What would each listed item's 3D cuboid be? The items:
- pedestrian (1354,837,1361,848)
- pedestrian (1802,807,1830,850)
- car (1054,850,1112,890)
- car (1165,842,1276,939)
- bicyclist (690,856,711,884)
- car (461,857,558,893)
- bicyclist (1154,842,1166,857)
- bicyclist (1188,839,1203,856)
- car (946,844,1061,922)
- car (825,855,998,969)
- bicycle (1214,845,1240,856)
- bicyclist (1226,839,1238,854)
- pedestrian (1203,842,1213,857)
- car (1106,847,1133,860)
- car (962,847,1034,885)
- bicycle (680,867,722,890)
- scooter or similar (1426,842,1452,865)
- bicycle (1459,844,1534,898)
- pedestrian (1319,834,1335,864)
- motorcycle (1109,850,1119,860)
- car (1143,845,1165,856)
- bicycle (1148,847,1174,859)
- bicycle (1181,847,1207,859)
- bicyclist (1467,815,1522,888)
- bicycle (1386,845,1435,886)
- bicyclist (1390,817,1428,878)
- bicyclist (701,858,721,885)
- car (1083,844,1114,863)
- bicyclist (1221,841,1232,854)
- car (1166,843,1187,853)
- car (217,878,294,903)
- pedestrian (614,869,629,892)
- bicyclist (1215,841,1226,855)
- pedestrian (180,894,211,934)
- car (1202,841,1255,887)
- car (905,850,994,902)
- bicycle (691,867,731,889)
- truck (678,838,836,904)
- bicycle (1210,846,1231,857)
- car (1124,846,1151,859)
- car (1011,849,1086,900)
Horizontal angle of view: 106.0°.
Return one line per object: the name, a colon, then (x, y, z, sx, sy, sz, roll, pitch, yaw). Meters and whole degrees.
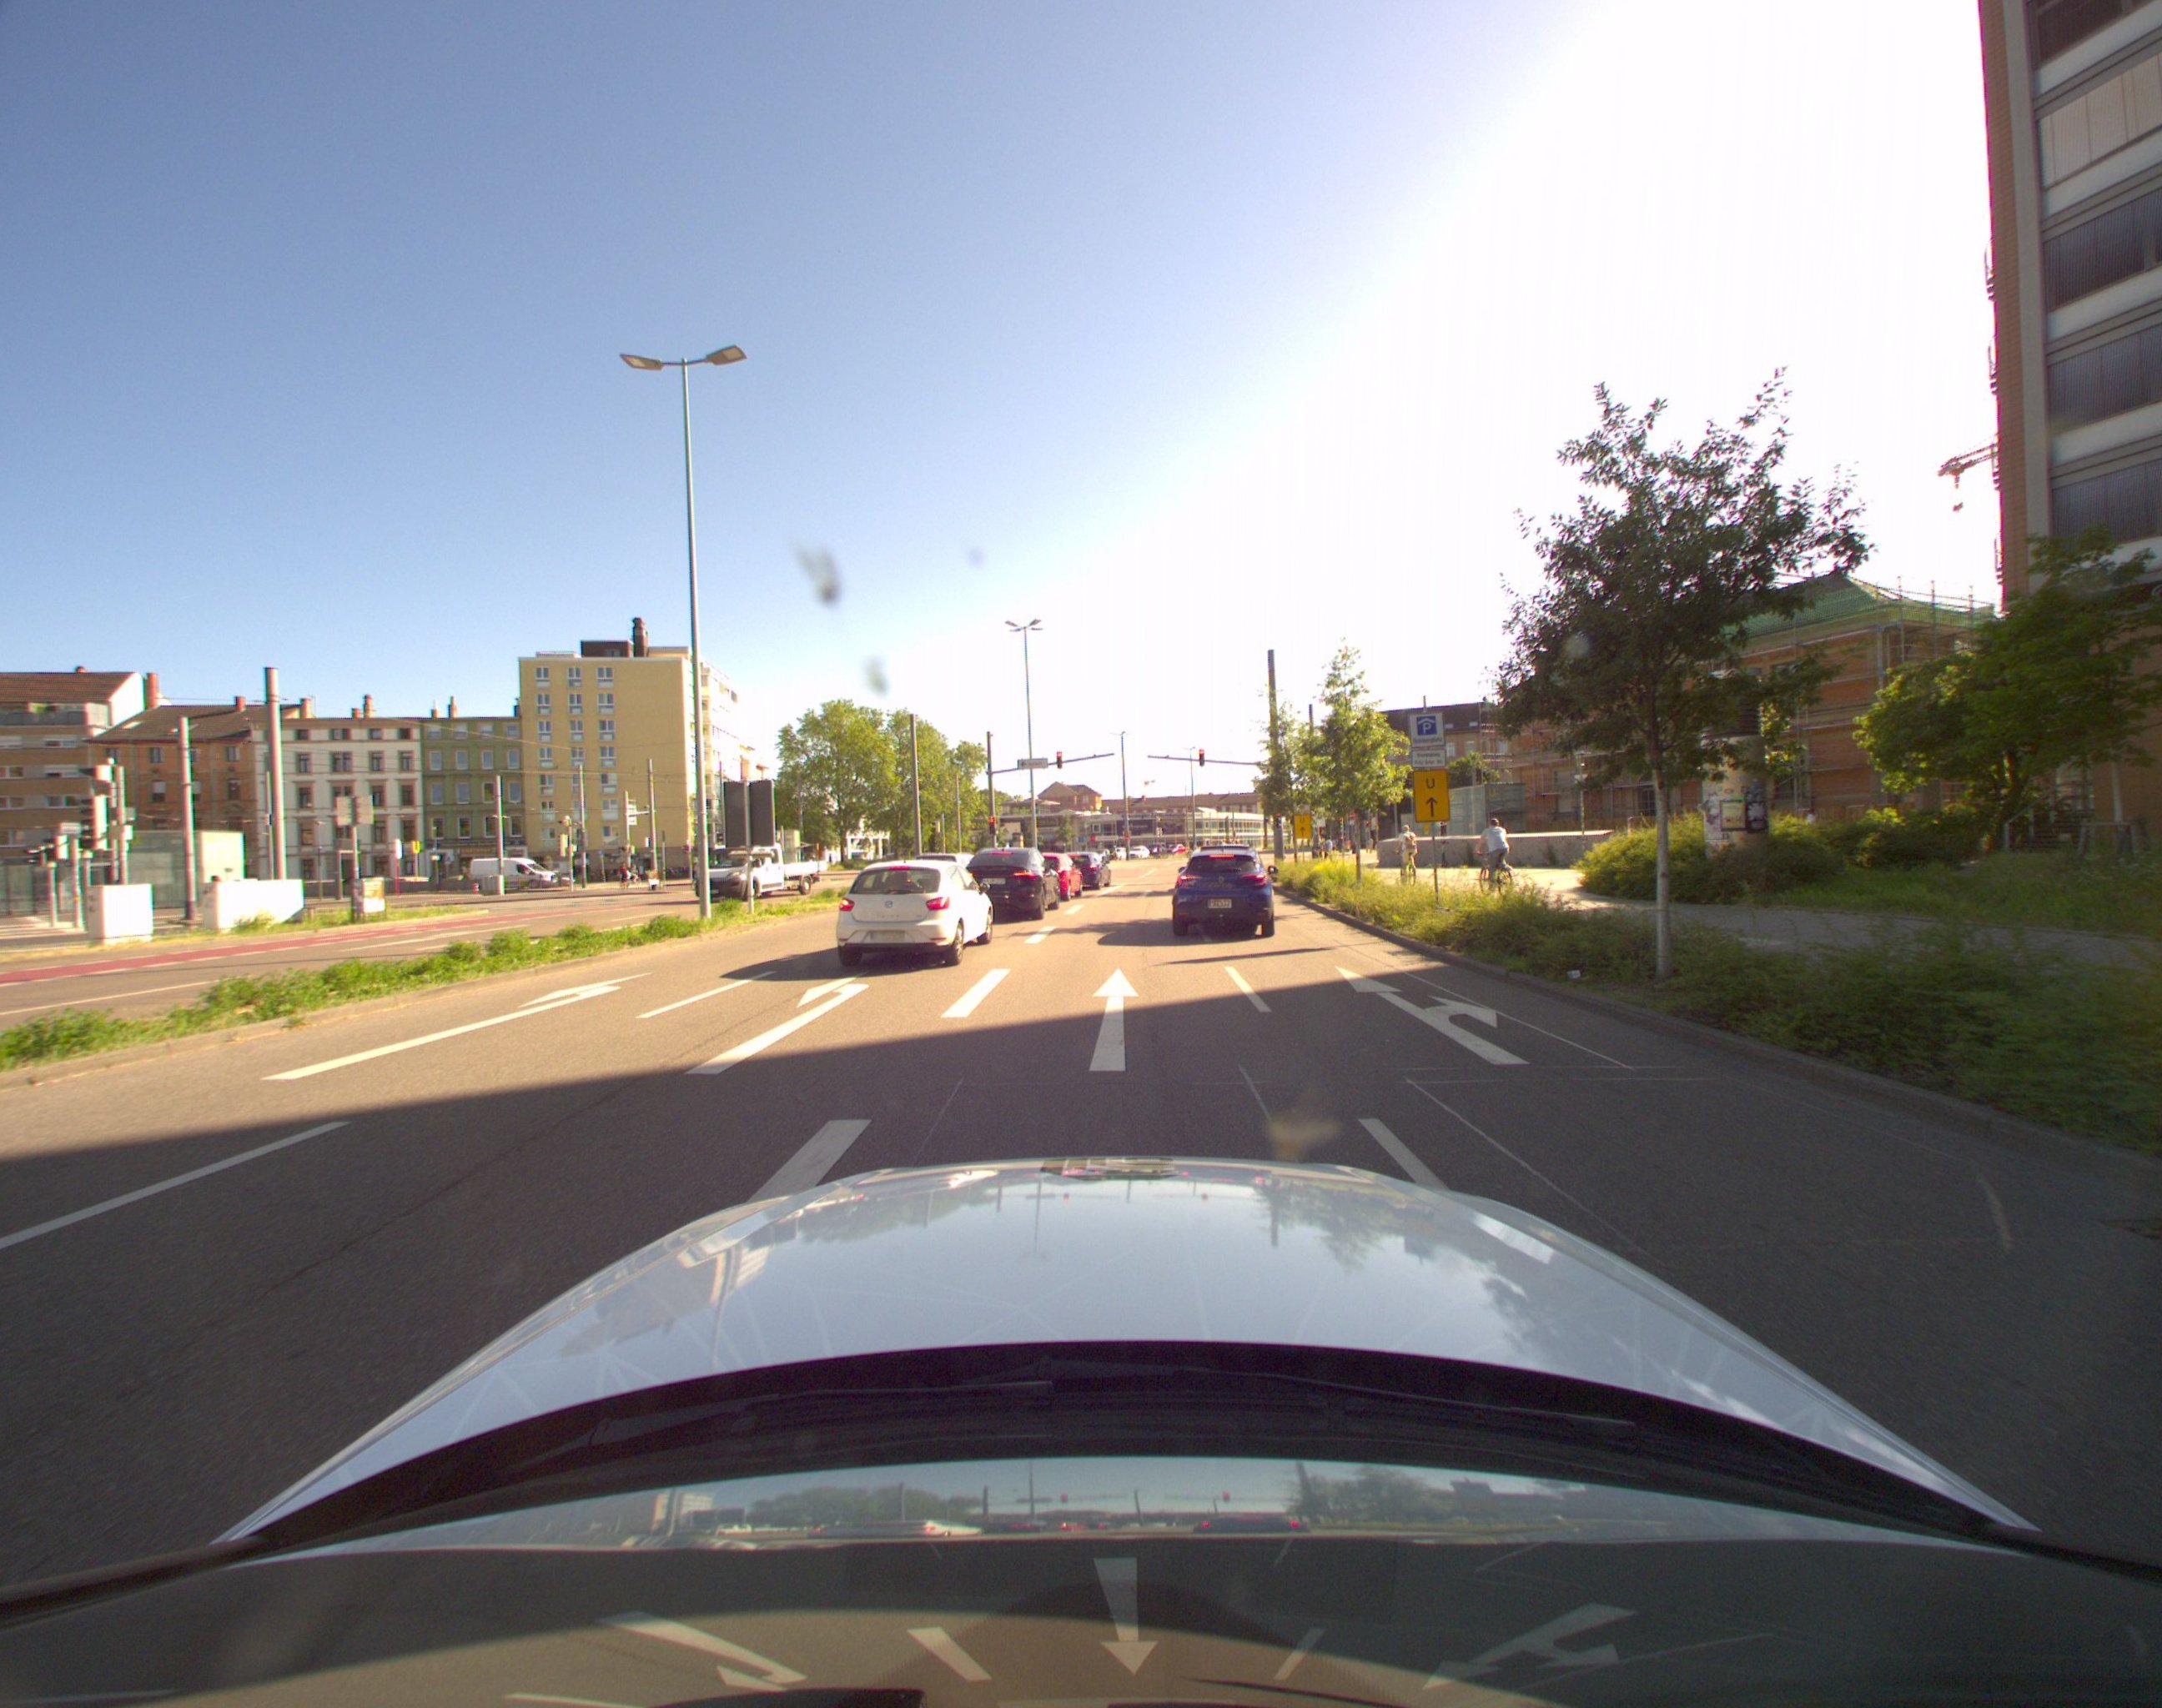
pedestrian: (36.421, -1.484, 107.300, 0.596, 1.409, 0.801, -1, 2, 2)
pedestrian: (30.852, -1.083, 34.195, 0.534, 1.752, 0.791, -1, 2, 7)
car: (0.144, 0.568, 32.053, 1.715, 1.442, 3.808, 0, 1, 9)
car: (2.792, 0.583, 15.698, 1.864, 1.617, 3.811, 0, 1, 13)
bicyclist: (-20.497, 0.854, 43.858, 0.770, 1.444, 0.644, -2, 0, 7)
car: (-42.745, 1.518, 61.033, 5.486, 2.411, 1.993, -2, 0, -10)
bicyclist: (8.835, -0.540, 91.009, 1.063, 1.584, 0.944, -2, 2, -10)
bicyclist: (12.334, -0.705, 87.736, 1.187, 1.776, 0.942, -2, 2, -17)
car: (-1.704, 0.596, 19.448, 1.975, 1.624, 4.383, -1, 0, 4)
car: (-2.395, 0.761, 12.452, 1.684, 1.436, 3.739, -1, 0, 2)
bicycle: (16.129, -0.387, 89.953, 2.632, 1.095, 0.969, -2, 0, 2)
bicyclist: (17.093, -0.881, 92.140, 1.063, 1.584, 0.944, -2, 2, -10)
pedestrian: (14.597, -0.530, 93.419, 0.856, 1.610, 0.695, -3, 3, -39)
car: (4.755, -0.102, 100.138, 1.709, 1.442, 4.209, -2, 0, 26)
car: (-3.247, 0.431, 32.508, 1.713, 1.442, 3.923, 0, 1, 12)
bicycle: (-20.472, 1.340, 43.852, 1.941, 1.165, 0.644, -2, 0, 5)
scooter or similar: (16.530, -0.015, 37.611, 0.468, 1.012, 1.244, -2, 2, -14)
bicycle: (9.543, 0.359, 18.783, 0.714, 1.165, 1.869, -2, 1, -1)
pedestrian: (14.760, -0.298, 48.851, 0.588, 1.723, 0.876, -3, -3, 40)
motorcycle: (3.775, 0.129, 93.081, 0.557, 1.094, 1.846, -2, 0, 22)
car: (10.019, -0.536, 111.516, 1.709, 1.442, 4.209, 0, 1, 26)
bicycle: (8.941, -0.117, 91.039, 2.646, 1.188, 0.944, -2, 2, -10)
bicycle: (12.199, -0.122, 87.696, 2.653, 1.188, 0.942, -2, 2, -18)
bicyclist: (9.528, -0.071, 18.813, 0.717, 1.617, 0.977, -2, 0, -1)
bicycle: (9.926, 0.331, 24.602, 0.743, 1.165, 1.872, -2, 1, 3)
bicyclist: (9.898, -0.201, 24.637, 0.717, 1.762, 0.978, -2, 0, 2)
bicyclist: (-20.370, 0.972, 44.851, 0.770, 1.444, 0.644, -2, 0, 5)
car: (2.025, -0.075, 94.043, 1.975, 2.013, 4.025, 0, 3, 27)
bicyclist: (16.055, -0.705, 89.953, 0.958, 1.449, 0.969, -2, 0, 3)
car: (13.847, -0.895, 117.991, 1.709, 1.442, 4.209, 0, 1, 26)
car: (-68.944, 3.064, 68.070, 3.985, 1.771, 1.995, -2, 2, -8)
pedestrian: (-28.722, 1.658, 50.936, 0.593, 1.408, 0.567, -2, 2, -9)
bicyclist: (15.608, -0.681, 90.938, 0.985, 1.604, 0.756, -2, 0, -9)
pedestrian: (-20.589, 1.382, 18.939, 0.299, 0.897, 0.354, -2, 0, -3)
car: (5.632, 0.348, 31.035, 1.865, 1.617, 3.635, -1, 0, 10)
car: (-3.988, 0.634, 25.337, 1.716, 1.442, 3.806, -2, 0, 7)
bicycle: (-20.369, 1.325, 44.852, 1.941, 1.165, 0.644, -2, 0, 5)
truck: (-12.743, 0.577, 32.751, 2.198, 2.313, 6.910, -2, 0, 14)
bicycle: (15.623, -0.277, 90.945, 2.177, 1.095, 0.756, -2, 0, -9)
car: (6.849, -0.167, 97.569, 1.709, 1.442, 4.209, -2, 0, 26)
car: (-0.940, 0.589, 25.618, 1.662, 1.442, 3.731, 0, 1, 9)
